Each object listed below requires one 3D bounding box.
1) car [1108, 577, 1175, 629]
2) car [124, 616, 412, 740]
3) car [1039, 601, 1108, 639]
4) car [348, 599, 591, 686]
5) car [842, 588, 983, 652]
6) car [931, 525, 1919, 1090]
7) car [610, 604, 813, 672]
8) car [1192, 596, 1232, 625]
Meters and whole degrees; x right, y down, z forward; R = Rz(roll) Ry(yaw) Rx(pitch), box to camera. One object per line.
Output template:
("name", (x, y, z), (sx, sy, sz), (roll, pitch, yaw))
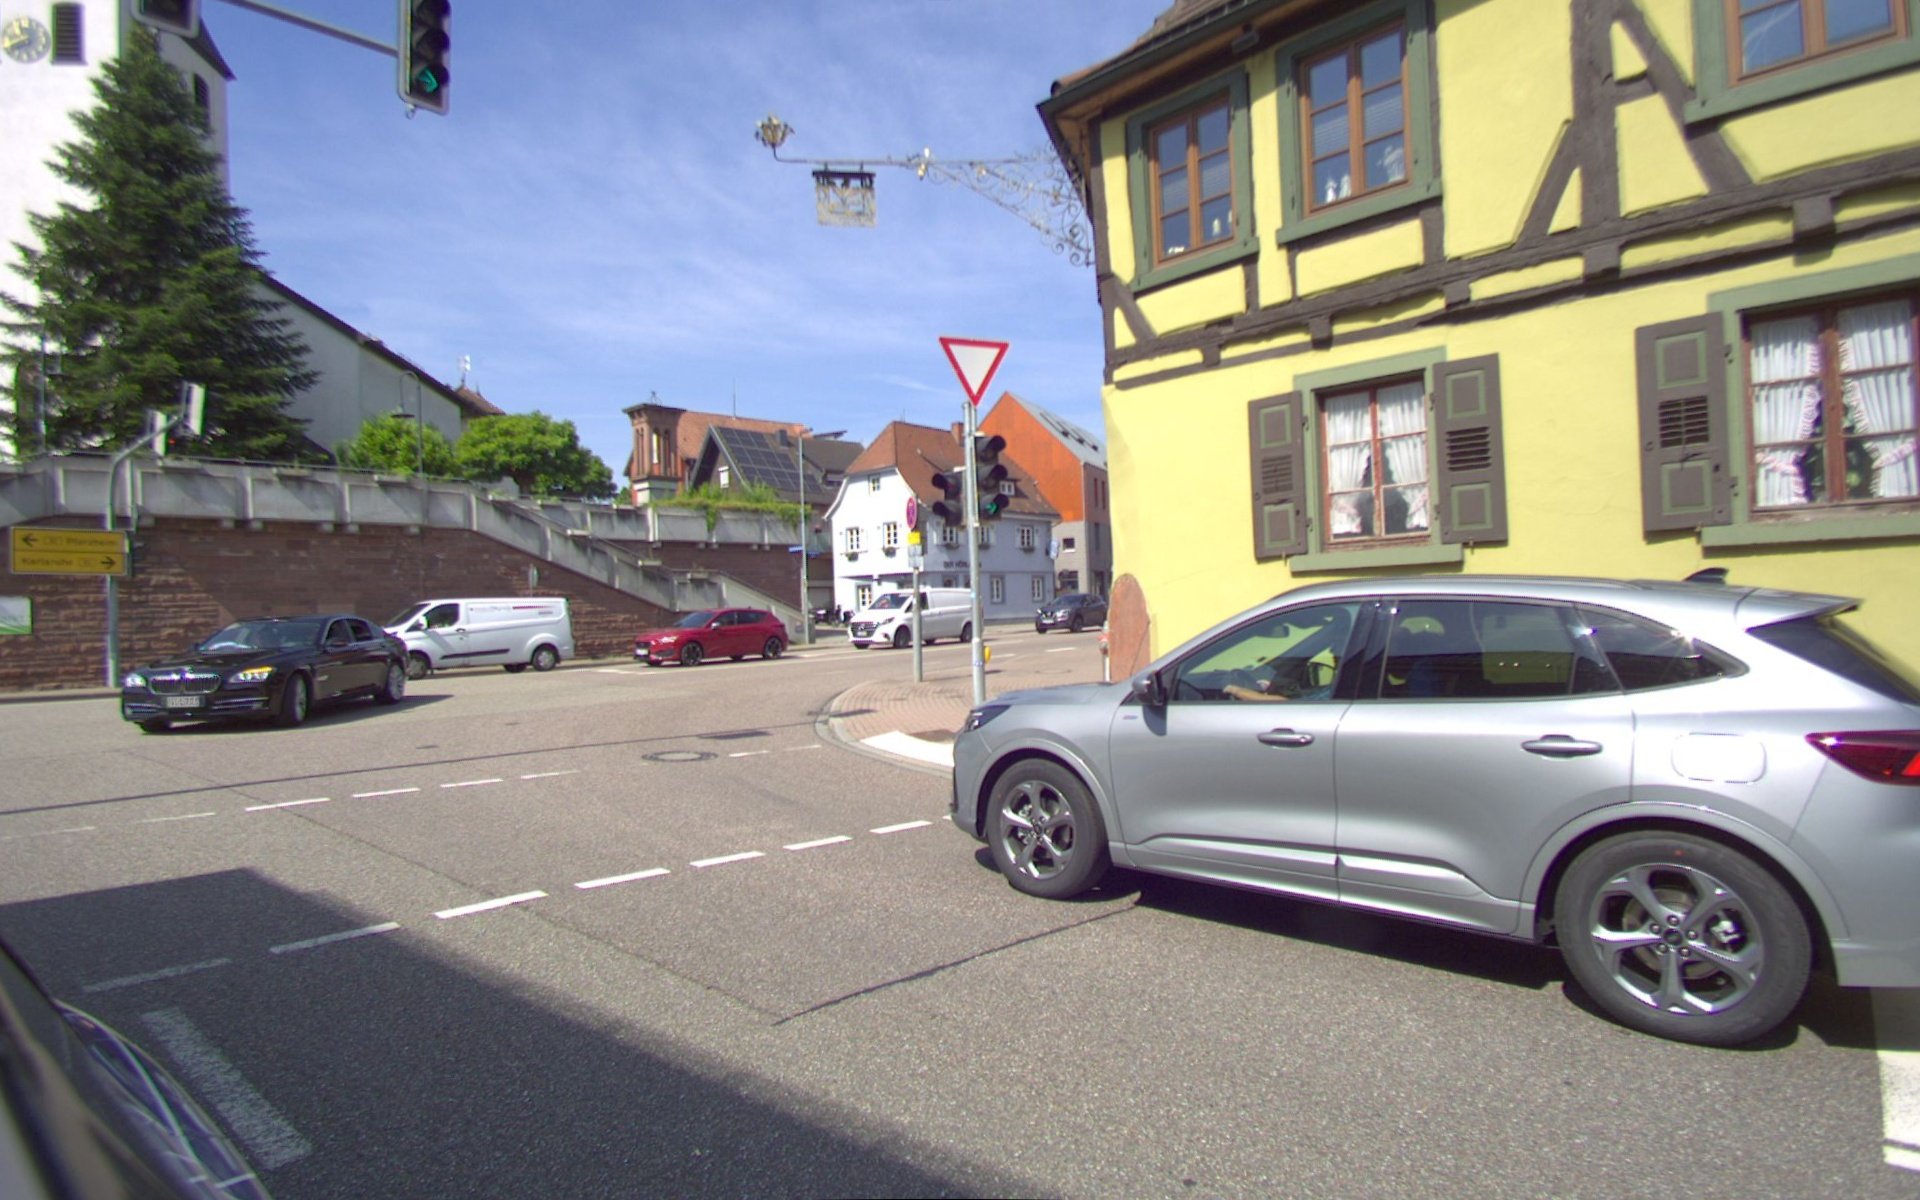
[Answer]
("car", (8.354, 0.111, 46.272), (1.755, 2.263, 4.510), (0, 0, 28))
("car", (-9.506, 0.968, 14.363), (1.797, 1.445, 4.257), (-1, -1, -10))
("car", (4.549, 0.753, 40.273), (1.572, 1.394, 3.526), (0, 0, 28))
("car", (-12.532, 1.035, 26.142), (2.144, 1.982, 5.202), (-3, -2, 43))
("car", (-1.456, 0.601, 32.928), (1.824, 1.920, 4.901), (-2, 0, 37))
("car", (2.069, 0.661, 4.711), (4.427, 1.622, 1.737), (-2, -3, 42))
("car", (-6.466, 0.938, 26.827), (2.165, 1.526, 4.880), (-1, 0, 41))
("car", (14.645, 0.564, 58.634), (1.505, 1.638, 3.386), (0, 0, 28))
